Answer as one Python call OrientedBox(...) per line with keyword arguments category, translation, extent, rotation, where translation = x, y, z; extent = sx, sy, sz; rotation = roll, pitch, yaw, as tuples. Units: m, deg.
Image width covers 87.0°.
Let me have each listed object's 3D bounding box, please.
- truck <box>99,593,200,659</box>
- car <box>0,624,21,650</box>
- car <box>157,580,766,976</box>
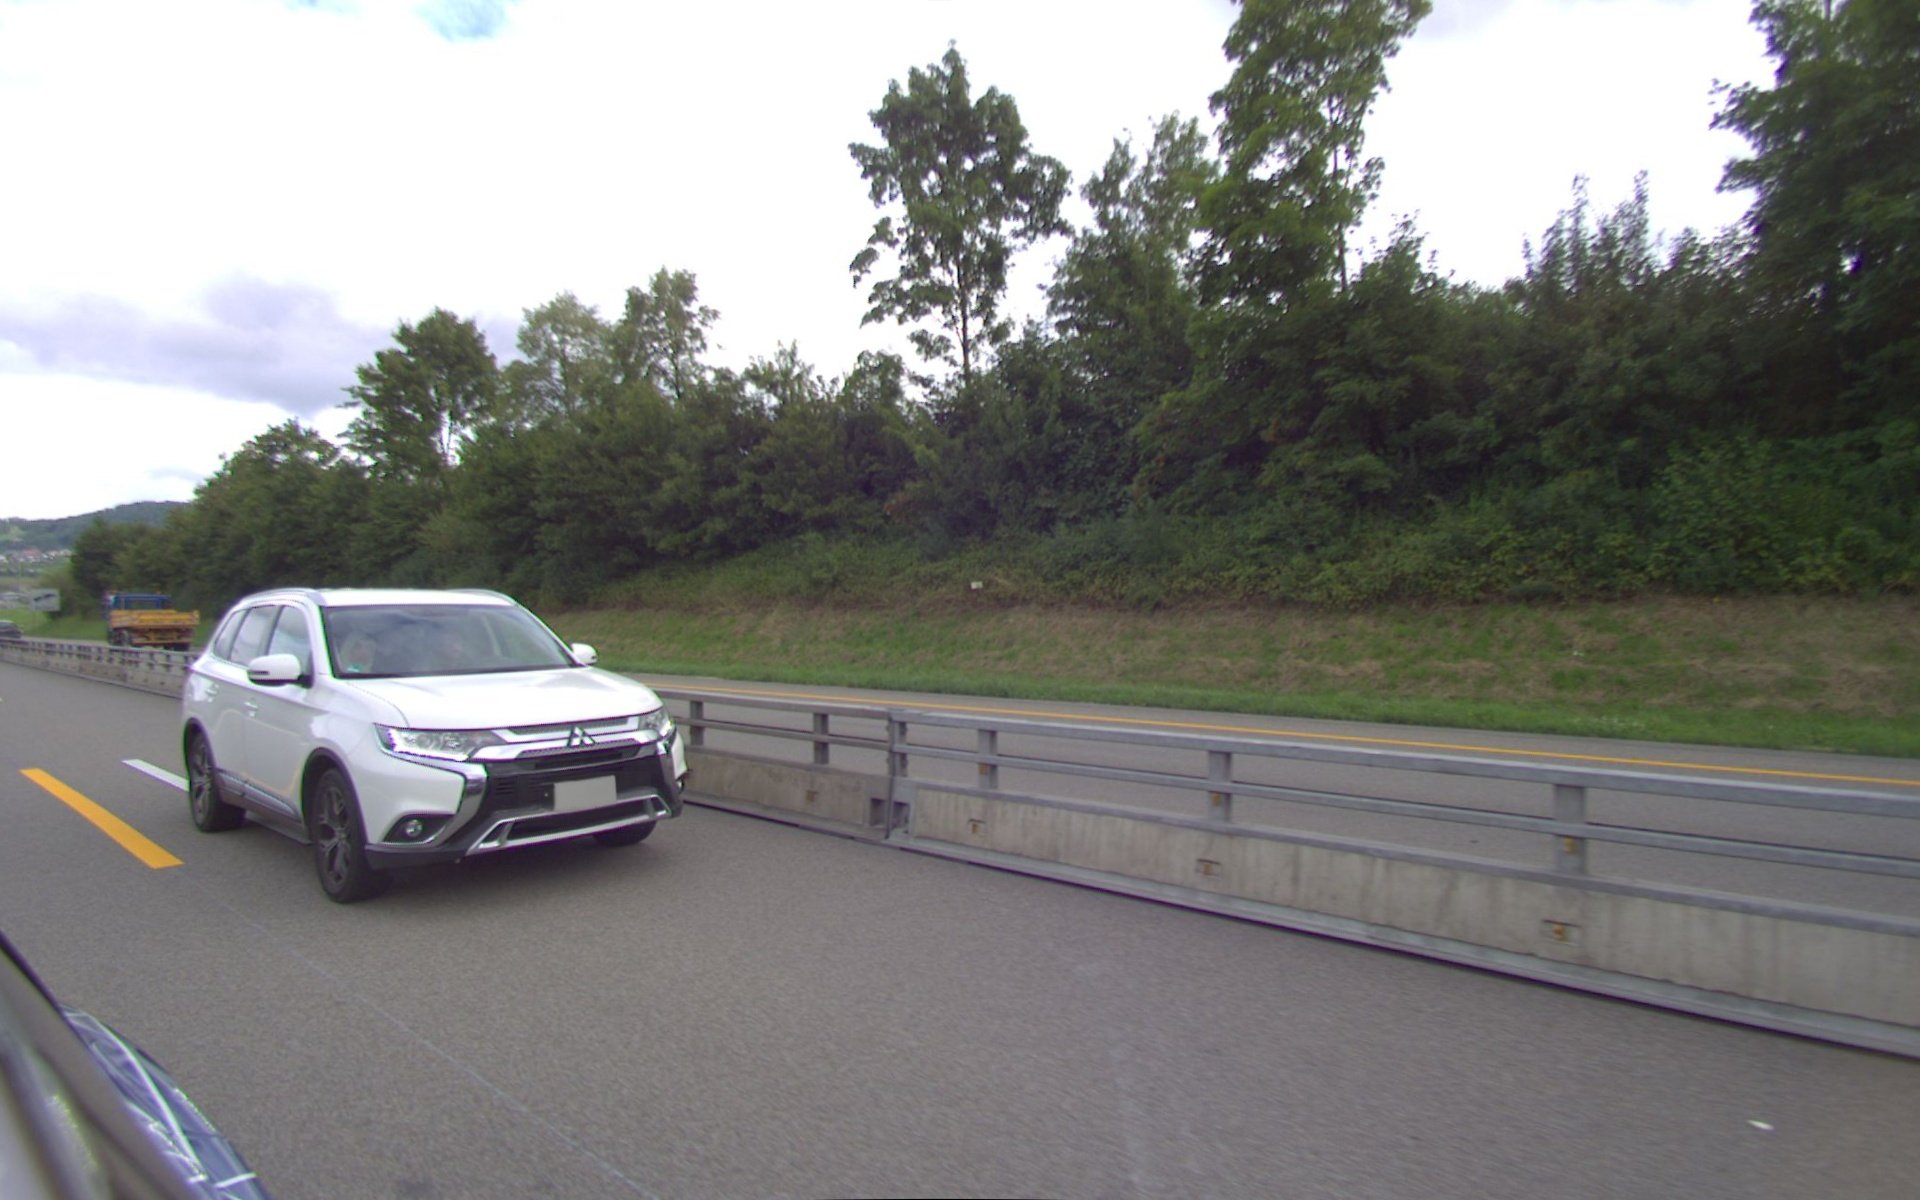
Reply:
OrientedBox(category="truck", translation=(-36.640, 1.153, 45.663), extent=(6.664, 2.738, 2.464), rotation=(-1, -1, 42))
OrientedBox(category="car", translation=(-58.119, 2.225, 60.847), extent=(4.830, 1.518, 1.972), rotation=(-1, -1, 42))
OrientedBox(category="car", translation=(-3.447, 0.788, 6.498), extent=(4.606, 1.640, 1.972), rotation=(-2, -1, 42))
